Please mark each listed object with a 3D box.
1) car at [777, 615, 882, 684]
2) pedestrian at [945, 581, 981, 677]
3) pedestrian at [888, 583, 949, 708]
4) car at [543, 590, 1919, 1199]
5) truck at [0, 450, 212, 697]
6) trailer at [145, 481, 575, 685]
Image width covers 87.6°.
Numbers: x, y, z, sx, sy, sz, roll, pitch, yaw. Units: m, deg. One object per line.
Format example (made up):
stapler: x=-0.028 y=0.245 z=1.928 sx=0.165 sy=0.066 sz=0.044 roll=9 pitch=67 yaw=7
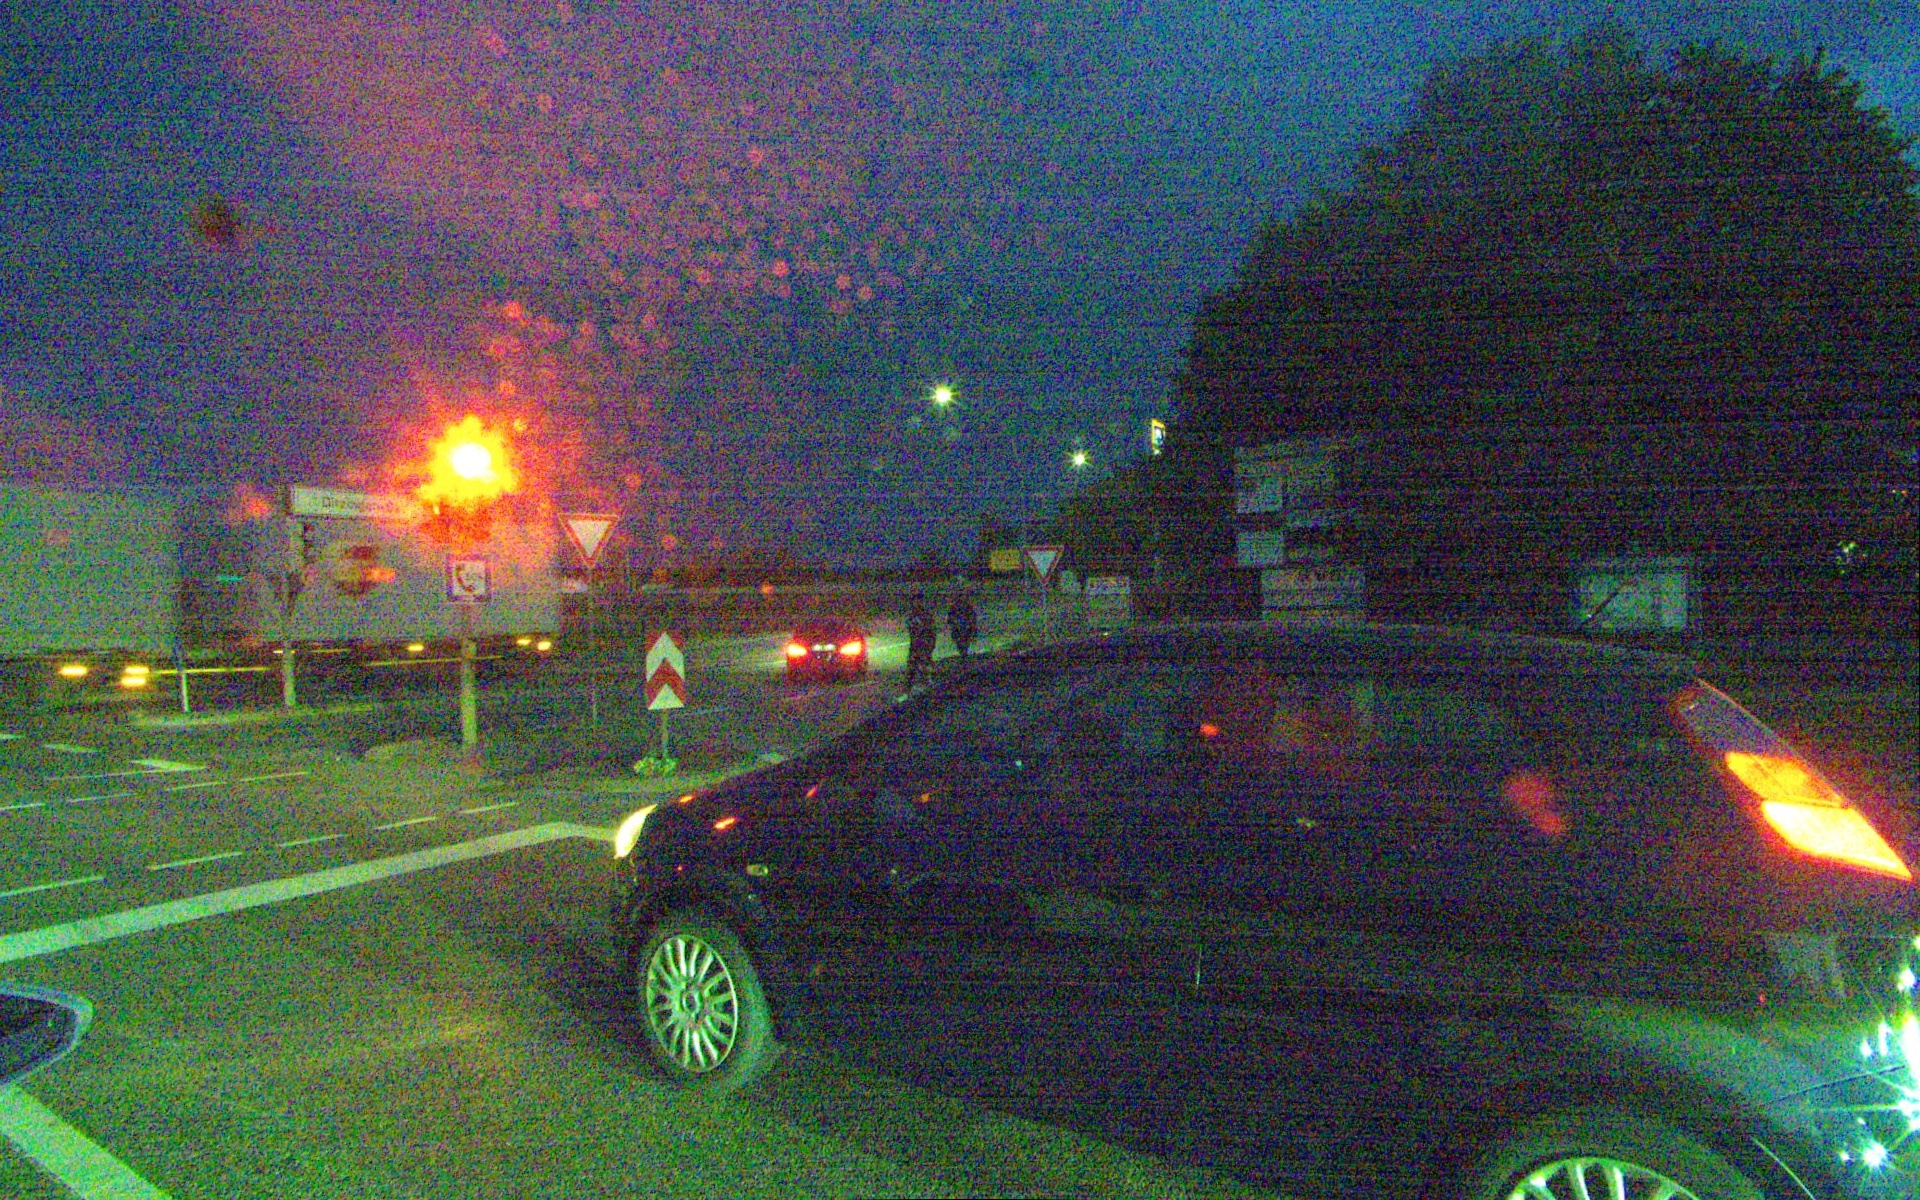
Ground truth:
car: x=-2.948 y=1.132 z=23.432 sx=1.774 sy=1.461 sz=4.002 roll=-1 pitch=-2 yaw=2
pedestrian: x=0.055 y=0.624 z=21.541 sx=0.700 sy=2.039 sz=0.781 roll=0 pitch=-1 yaw=-6
pedestrian: x=-0.696 y=0.764 z=16.837 sx=0.704 sy=2.039 sz=0.776 roll=-1 pitch=-1 yaw=33
car: x=0.502 y=0.781 z=3.227 sx=3.662 sy=1.557 sz=1.655 roll=0 pitch=-1 yaw=33
truck: x=-18.182 y=-0.442 z=15.679 sx=2.690 sy=4.171 sz=10.311 roll=-1 pitch=-1 yaw=25
trailer: x=-13.798 y=-0.372 z=24.229 sx=2.545 sy=3.996 sz=8.839 roll=0 pitch=1 yaw=28
